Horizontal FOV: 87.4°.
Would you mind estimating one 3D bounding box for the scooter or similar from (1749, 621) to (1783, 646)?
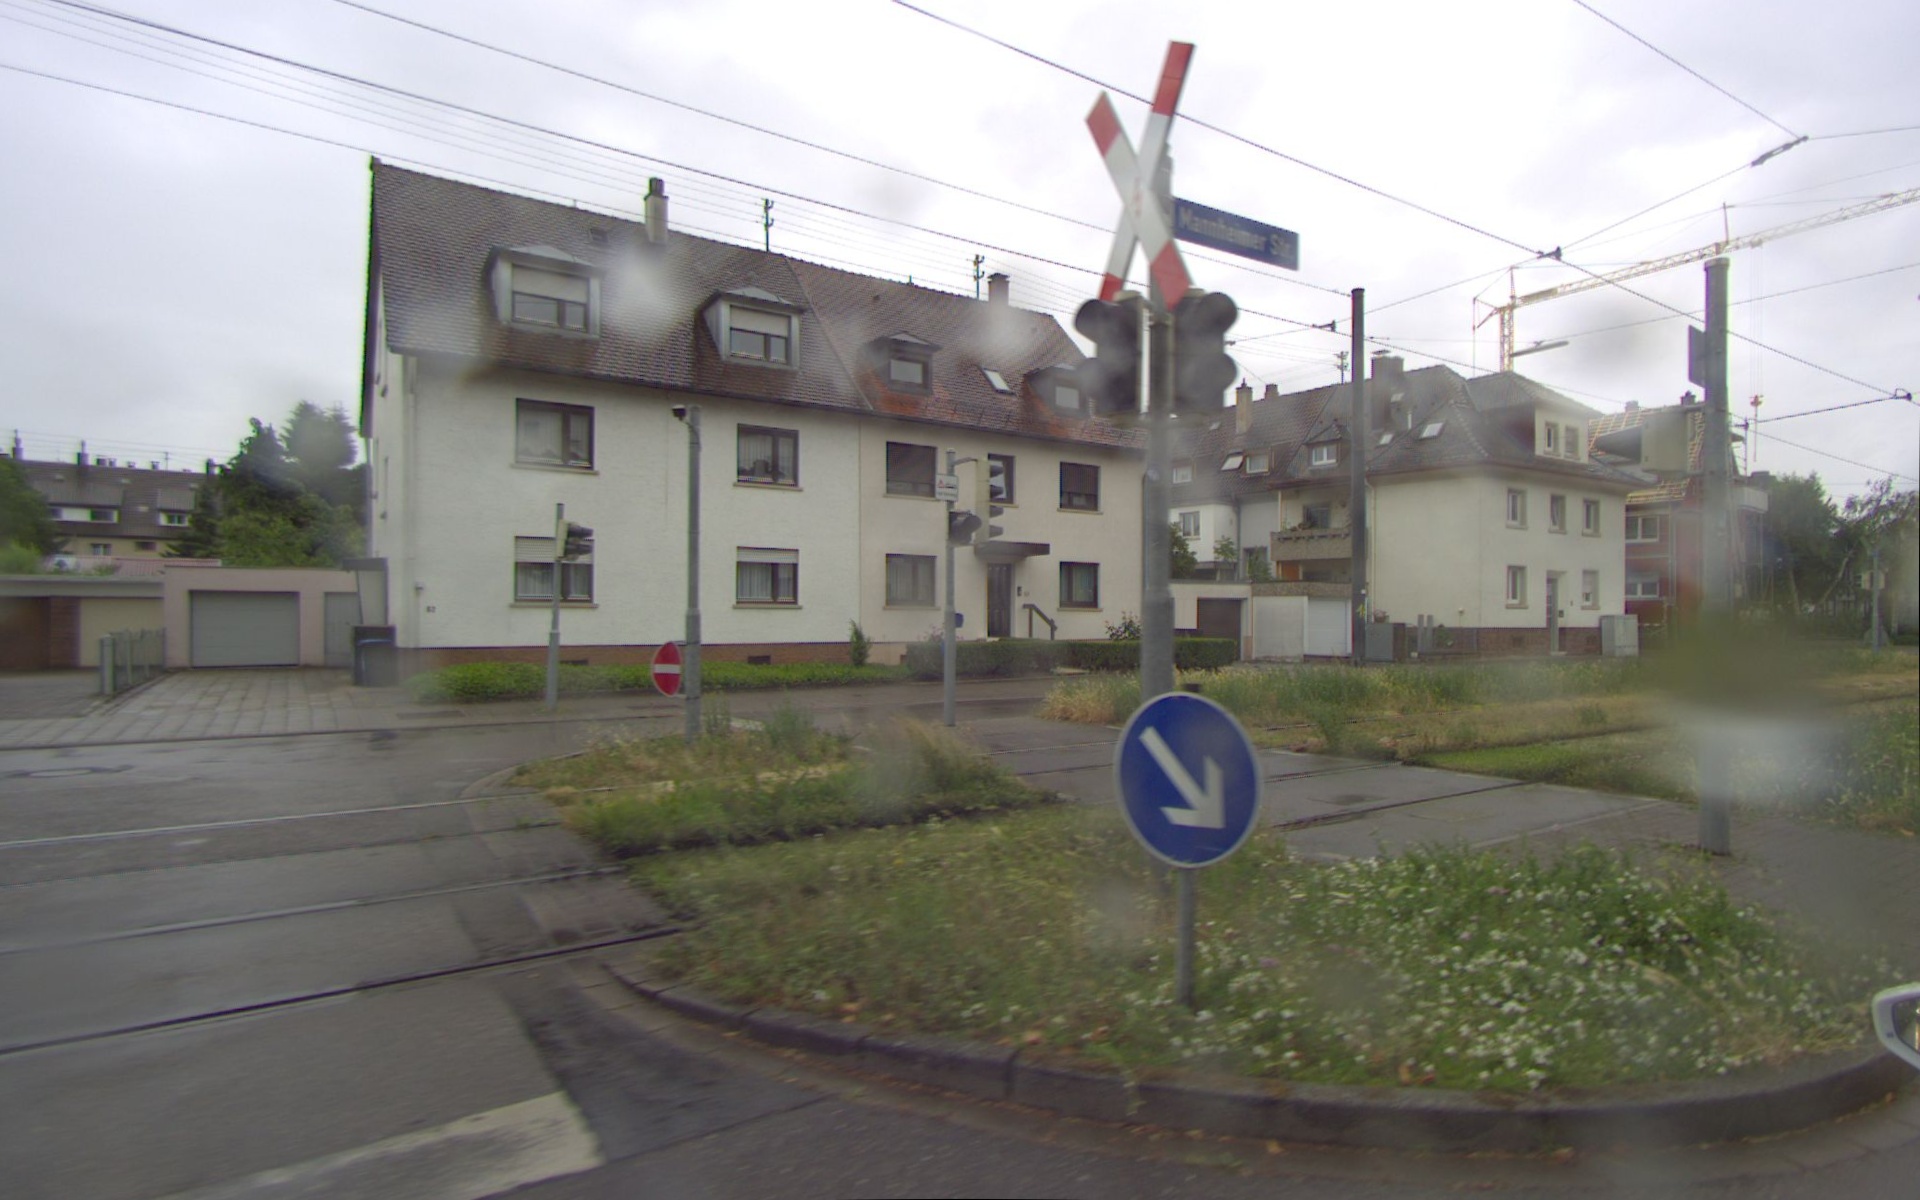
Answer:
[{"bbox_3d":[37.698,1.571,46.993,1.258,1.144,0.441,0,-1,-2],"label":"scooter or similar"}]

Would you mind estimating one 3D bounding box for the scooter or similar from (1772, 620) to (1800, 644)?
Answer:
[{"bbox_3d":[40.166,1.552,48.837,1.262,1.196,0.393,0,-1,-17],"label":"scooter or similar"}]
